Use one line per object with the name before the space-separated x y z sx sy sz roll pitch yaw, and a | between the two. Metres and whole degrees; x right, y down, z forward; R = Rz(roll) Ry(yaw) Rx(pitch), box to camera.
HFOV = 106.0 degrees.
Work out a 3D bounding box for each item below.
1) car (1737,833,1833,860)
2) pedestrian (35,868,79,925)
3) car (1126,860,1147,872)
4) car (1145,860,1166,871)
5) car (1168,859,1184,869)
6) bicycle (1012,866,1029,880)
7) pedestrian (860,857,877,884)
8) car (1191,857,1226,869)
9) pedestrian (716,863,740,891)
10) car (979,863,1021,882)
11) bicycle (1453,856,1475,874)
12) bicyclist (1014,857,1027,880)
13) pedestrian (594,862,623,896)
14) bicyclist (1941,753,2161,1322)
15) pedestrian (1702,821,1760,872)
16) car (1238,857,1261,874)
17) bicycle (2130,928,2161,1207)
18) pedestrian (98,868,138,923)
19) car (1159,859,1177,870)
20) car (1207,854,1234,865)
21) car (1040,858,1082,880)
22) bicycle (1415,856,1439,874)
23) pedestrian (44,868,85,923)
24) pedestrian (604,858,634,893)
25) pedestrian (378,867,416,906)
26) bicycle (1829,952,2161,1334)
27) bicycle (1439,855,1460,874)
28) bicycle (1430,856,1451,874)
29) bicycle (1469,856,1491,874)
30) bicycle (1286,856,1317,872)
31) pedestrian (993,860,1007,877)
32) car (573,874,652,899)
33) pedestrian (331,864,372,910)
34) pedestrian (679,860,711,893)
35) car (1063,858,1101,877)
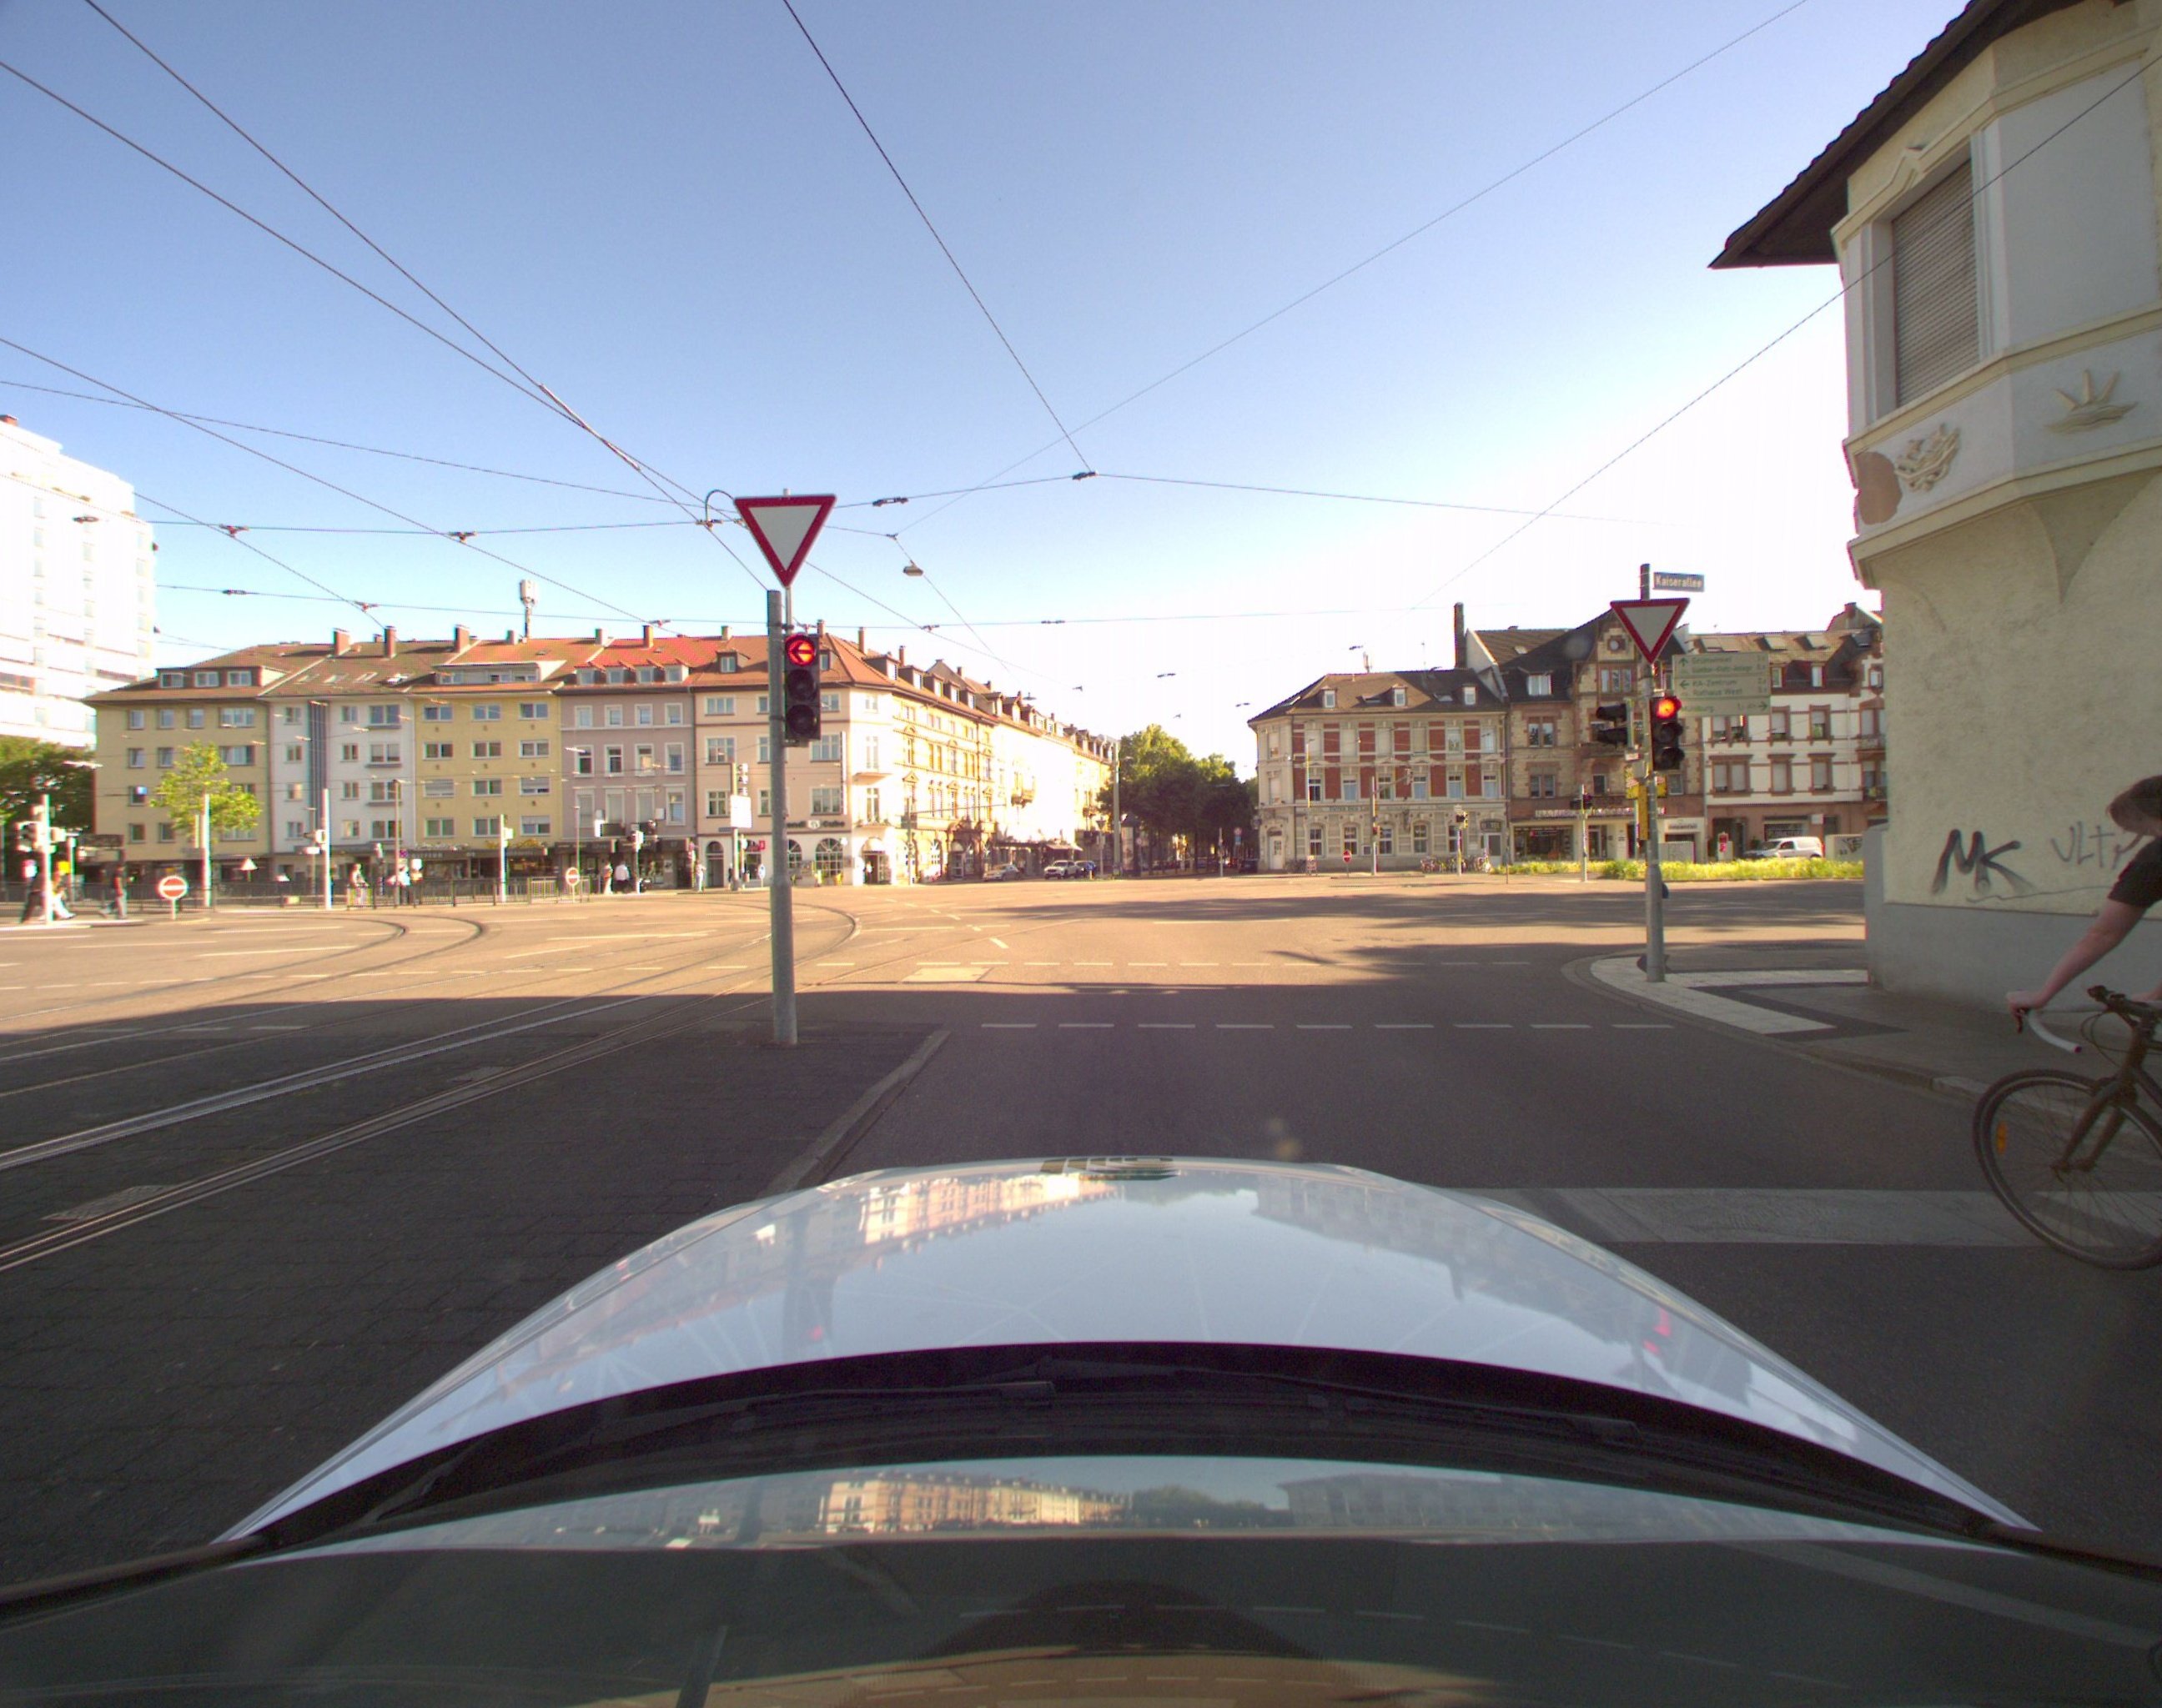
car | 45.357 -0.478 52.546 4.317 1.640 2.152 -2 0 1
pedestrian | -32.897 1.350 26.173 0.864 1.771 0.795 -2 -1 43
car | 7.532 1.669 110.972 1.978 1.486 4.017 -1 0 16
car | 11.253 1.732 122.592 1.977 1.612 4.413 -2 0 20
car | 15.829 1.721 136.158 1.750 1.549 4.411 -2 0 18
bicycle | -4.818 1.511 65.286 0.675 1.066 2.133 -2 0 14
pedestrian | -14.298 1.089 54.879 1.047 1.744 0.805 -1 0 -12
car | 18.048 1.310 115.143 4.335 1.612 2.012 -2 0 28
pedestrian | -23.005 1.503 53.093 0.998 1.775 0.945 -2 0 16
car | -6.684 1.521 67.372 1.883 1.455 4.020 -2 0 20
bicycle | 24.777 0.711 52.681 0.615 1.143 2.178 -2 0 7
bicyclist | -4.814 1.131 65.330 0.674 1.820 1.075 -2 0 14
pedestrian | -24.708 1.296 42.606 0.935 1.756 0.935 -2 0 1
bicyclist | 3.598 0.561 2.585 0.559 1.754 1.102 -2 0 4
pedestrian | 27.112 -0.305 33.991 1.314 2.044 1.307 -2 0 1
car | 17.014 1.141 82.207 1.978 1.585 4.017 -2 0 16
bicycle | 4.534 0.858 2.436 0.516 1.116 1.815 -2 0 4
pedestrian | -31.772 1.347 26.874 0.670 1.771 0.795 -2 -1 43
car | 13.911 1.701 130.324 1.822 1.552 4.412 -2 0 19
car | 22.830 0.972 133.294 3.948 1.706 2.013 -2 0 32
car | -1.609 1.251 67.530 1.977 1.684 4.413 -2 0 20
bicycle | 22.499 0.702 52.978 0.802 1.143 2.178 -2 0 7
pedestrian | -33.604 1.361 26.929 0.670 1.771 0.795 -2 -1 43
pedestrian | -23.210 1.070 40.910 0.935 1.756 0.935 -2 0 1
pedestrian | -26.608 1.245 31.682 0.814 1.454 0.937 -2 0 34
bicycle | 3.613 0.948 2.662 0.642 1.010 1.930 -2 0 4
bicycle | 23.857 0.673 52.776 0.615 1.143 2.178 -2 0 7
bicycle | 23.277 0.693 52.829 0.615 1.143 2.178 -2 0 7
bicycle | 25.754 0.690 52.591 0.606 1.136 2.139 -2 0 7
bicycle | 15.498 0.724 57.181 2.081 1.124 0.366 0 -1 -3
pedestrian | -7.581 1.350 75.985 0.921 1.535 1.142 -2 0 16
car | -30.621 2.139 53.327 3.974 1.453 2.000 -1 0 -1
pedestrian | -27.712 1.239 30.940 0.953 1.655 0.820 -1 0 -27
pedestrian | -20.129 1.151 42.455 1.076 1.685 1.104 -2 0 1
car | 0.116 1.218 74.007 1.977 1.612 4.413 -2 0 20
